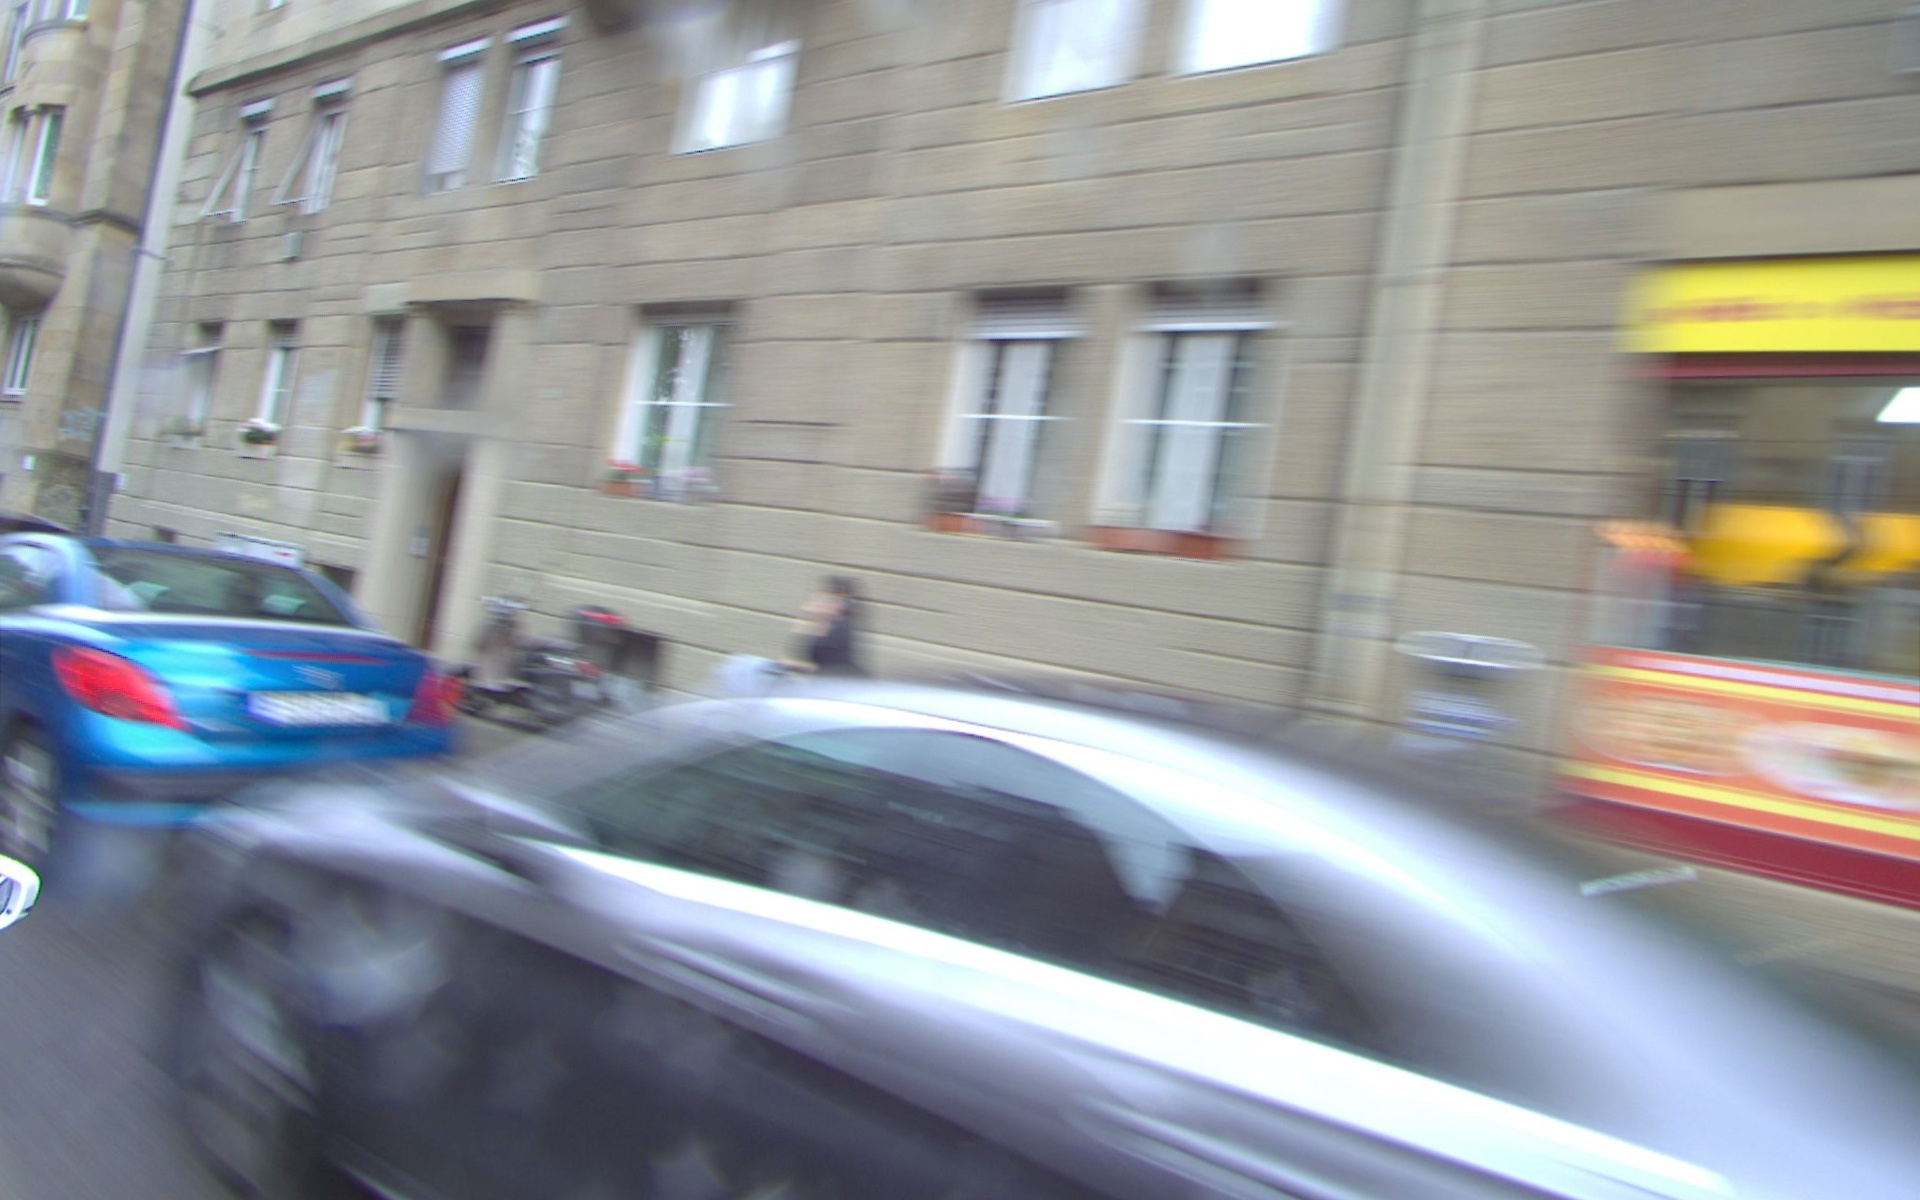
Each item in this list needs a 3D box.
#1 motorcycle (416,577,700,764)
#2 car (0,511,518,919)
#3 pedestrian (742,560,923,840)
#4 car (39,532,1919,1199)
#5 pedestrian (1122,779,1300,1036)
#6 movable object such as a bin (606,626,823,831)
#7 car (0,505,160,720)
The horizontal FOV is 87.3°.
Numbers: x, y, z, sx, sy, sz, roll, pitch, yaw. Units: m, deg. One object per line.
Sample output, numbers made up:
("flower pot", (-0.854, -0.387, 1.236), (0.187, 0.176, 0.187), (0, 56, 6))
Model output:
("motorcycle", (-3.561, 0.568, 8.758), (2.700, 1.212, 0.707), (7, -2, 32))
("car", (-4.465, 0.349, 5.408), (3.951, 1.413, 1.711), (7, -3, 31))
("pedestrian", (-0.775, 0.593, 6.150), (0.698, 1.552, 0.562), (7, -2, 32))
("car", (-0.086, 0.826, 2.445), (4.408, 1.403, 1.758), (7, -1, 29))
("pedestrian", (1.268, 1.493, 5.056), (0.616, 1.062, 0.512), (7, -2, 32))
("movable object such as a bin", (-1.616, 0.824, 6.635), (1.105, 1.115, 0.667), (7, -3, 32))
("car", (-8.426, -0.125, 7.998), (4.015, 1.478, 1.792), (7, -3, 31))
